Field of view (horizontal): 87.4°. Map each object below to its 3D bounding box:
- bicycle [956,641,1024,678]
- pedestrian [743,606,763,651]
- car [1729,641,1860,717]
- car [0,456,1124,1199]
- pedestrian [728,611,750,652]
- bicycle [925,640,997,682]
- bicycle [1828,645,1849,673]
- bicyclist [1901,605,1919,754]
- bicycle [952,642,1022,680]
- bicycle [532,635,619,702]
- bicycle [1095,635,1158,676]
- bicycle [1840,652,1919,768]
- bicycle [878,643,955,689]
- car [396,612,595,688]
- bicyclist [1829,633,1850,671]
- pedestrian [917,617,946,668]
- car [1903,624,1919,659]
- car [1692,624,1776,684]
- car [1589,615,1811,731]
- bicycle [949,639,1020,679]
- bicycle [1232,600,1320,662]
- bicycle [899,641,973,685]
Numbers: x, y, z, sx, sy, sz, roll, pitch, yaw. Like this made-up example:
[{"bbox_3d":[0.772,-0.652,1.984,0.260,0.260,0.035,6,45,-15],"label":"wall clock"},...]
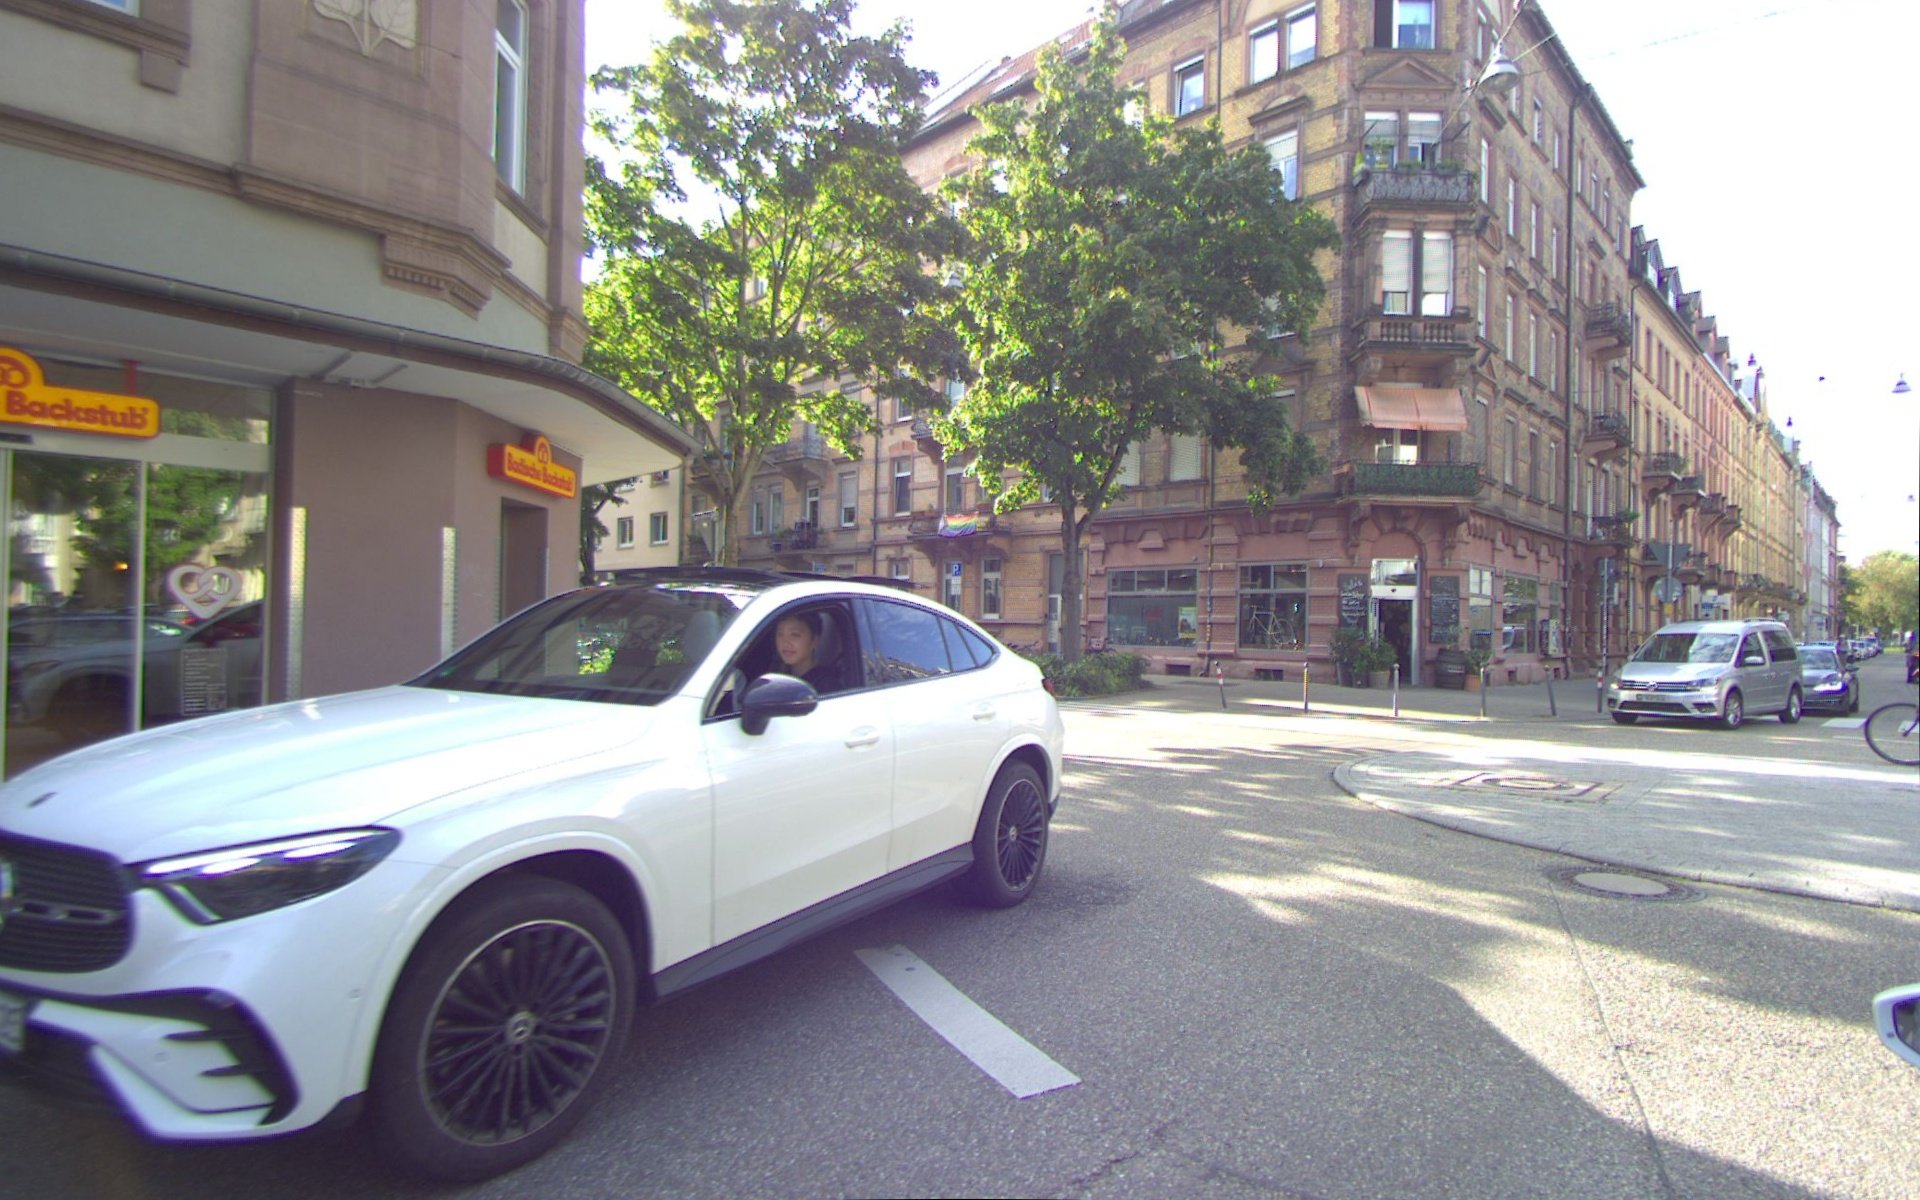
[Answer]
[{"bbox_3d":[0.865,1.729,29.455,2.045,0.981,0.589,0,0,39],"label":"bicycle"},{"bbox_3d":[-8.633,1.196,41.913,0.513,1.842,0.621,0,-1,43],"label":"pedestrian"},{"bbox_3d":[17.886,1.644,21.465,3.975,1.456,1.774,4,-4,-45],"label":"car"},{"bbox_3d":[-1.090,0.645,4.442,1.965,1.656,4.834,-1,-2,31],"label":"car"},{"bbox_3d":[-9.122,1.301,41.395,0.513,1.695,0.698,0,-1,43],"label":"pedestrian"},{"bbox_3d":[0.010,1.609,26.941,2.045,1.025,0.589,0,0,39],"label":"bicycle"},{"bbox_3d":[41.513,2.792,47.436,0.693,1.236,2.105,2,0,42],"label":"bicycle"},{"bbox_3d":[10.873,0.883,10.694,0.687,1.607,1.116,5,-2,-37],"label":"bicyclist"},{"bbox_3d":[0.755,1.721,28.640,2.045,0.981,0.589,0,0,39],"label":"bicycle"},{"bbox_3d":[-7.180,1.243,18.696,2.397,1.149,0.476,0,-2,43],"label":"bicycle"},{"bbox_3d":[4.766,1.590,28.835,1.757,1.081,0.525,1,-1,42],"label":"bicycle"},{"bbox_3d":[10.808,1.225,10.763,0.687,1.215,1.957,5,-2,-36],"label":"bicycle"},{"bbox_3d":[-1.113,1.661,25.540,2.109,1.043,0.589,0,0,39],"label":"bicycle"},{"bbox_3d":[-10.172,1.057,22.172,1.555,1.496,3.677,2,0,43],"label":"car"},{"bbox_3d":[41.564,2.446,47.483,0.693,1.700,1.106,2,0,42],"label":"bicyclist"},{"bbox_3d":[-0.943,1.375,33.025,0.610,1.599,0.801,-2,2,-39],"label":"pedestrian"},{"bbox_3d":[59.670,2.584,62.250,1.763,2.047,3.865,2,0,43],"label":"car"},{"bbox_3d":[26.891,1.820,34.839,1.899,1.896,4.411,1,-1,43],"label":"car"},{"bbox_3d":[13.039,1.221,17.639,4.286,1.814,1.818,2,-3,-34],"label":"car"},{"bbox_3d":[0.654,1.624,27.872,2.045,1.025,0.589,0,0,39],"label":"bicycle"},{"bbox_3d":[8.148,0.784,25.957,2.132,1.541,0.554,0,-1,40],"label":"bicycle"},{"bbox_3d":[-0.650,1.625,26.138,2.045,1.043,0.589,0,0,39],"label":"bicycle"}]
